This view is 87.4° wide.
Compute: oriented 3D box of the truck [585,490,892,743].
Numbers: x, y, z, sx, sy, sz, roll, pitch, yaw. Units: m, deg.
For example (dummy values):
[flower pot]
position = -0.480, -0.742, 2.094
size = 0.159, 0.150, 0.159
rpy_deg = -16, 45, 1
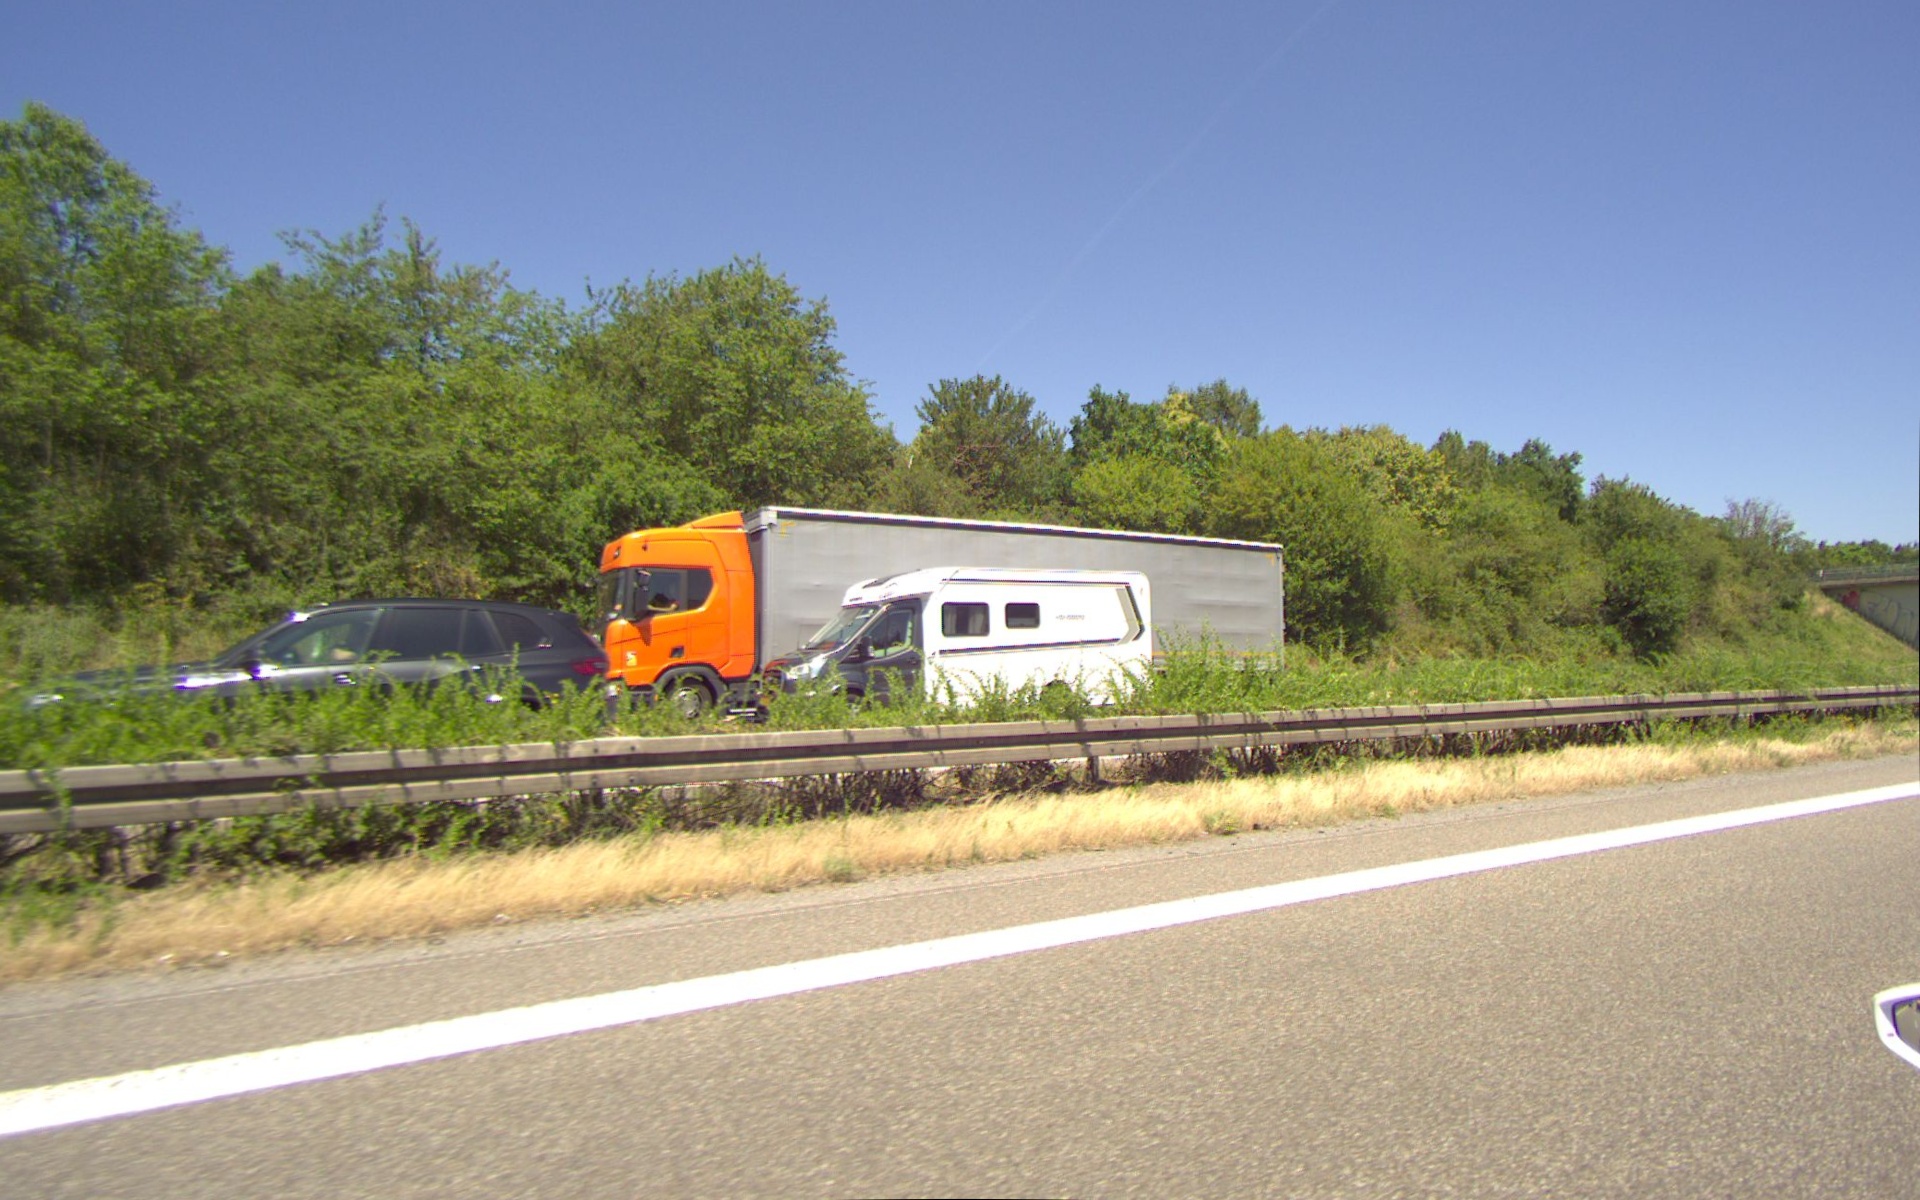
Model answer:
[truck]
position = -4.356, 0.338, 19.662
size = 5.113, 4.287, 3.123
rpy_deg = 2, 0, -29

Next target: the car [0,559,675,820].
[car]
position = -5.509, 0.723, 9.452
size = 5.130, 1.932, 1.864
rpy_deg = 2, 0, -30

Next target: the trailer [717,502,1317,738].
[trailer]
position = 1.934, 0.550, 23.167
size = 14.302, 4.305, 3.131
rpy_deg = 2, 0, -29

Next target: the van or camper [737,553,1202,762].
[van or camper]
position = 0.328, 0.924, 17.469
size = 7.762, 3.006, 2.602
rpy_deg = 2, 0, -29
